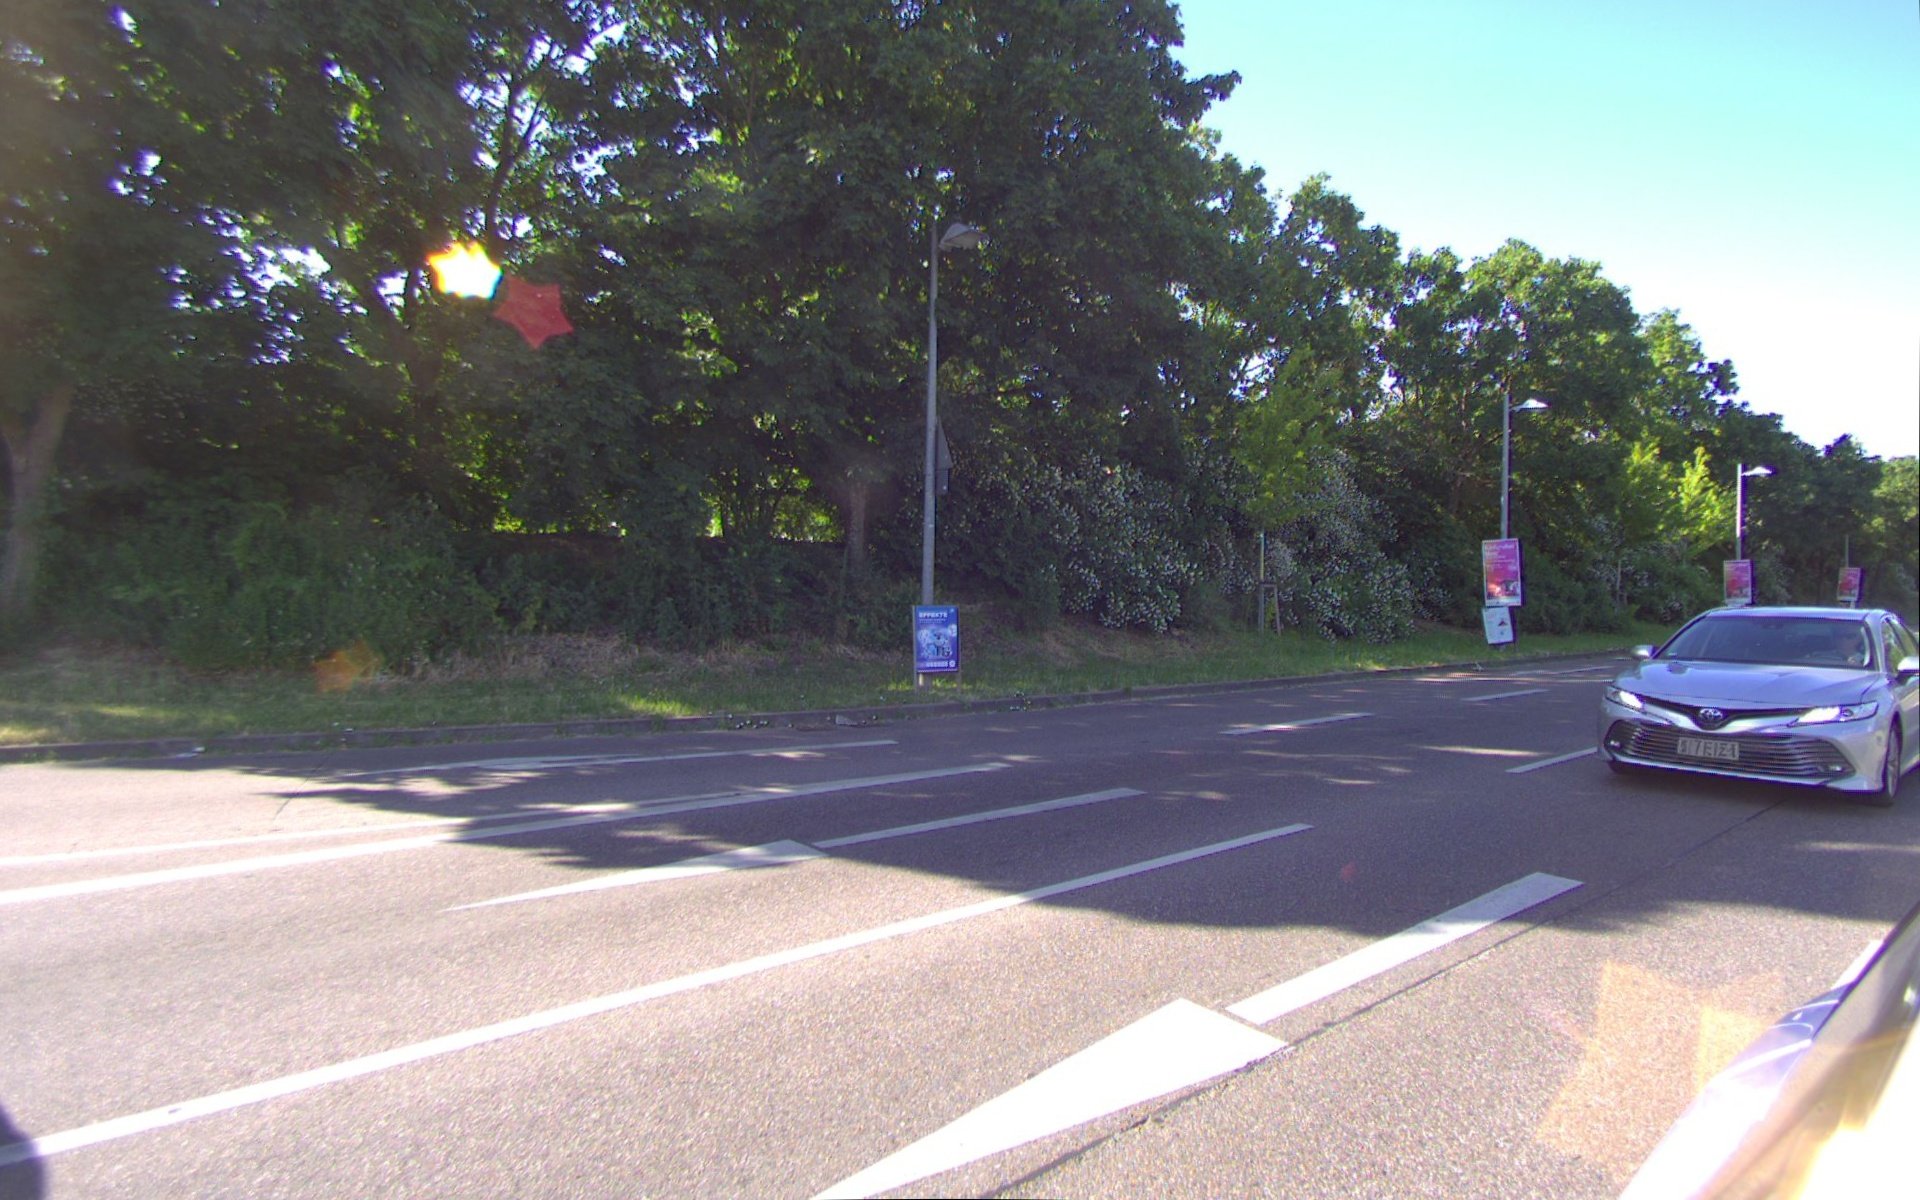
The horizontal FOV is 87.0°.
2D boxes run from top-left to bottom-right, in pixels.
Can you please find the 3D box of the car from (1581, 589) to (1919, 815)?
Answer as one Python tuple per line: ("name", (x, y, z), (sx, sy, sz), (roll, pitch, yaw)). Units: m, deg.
("car", (7.321, 0.660, 8.847), (4.512, 1.454, 1.875), (0, 1, -40))
